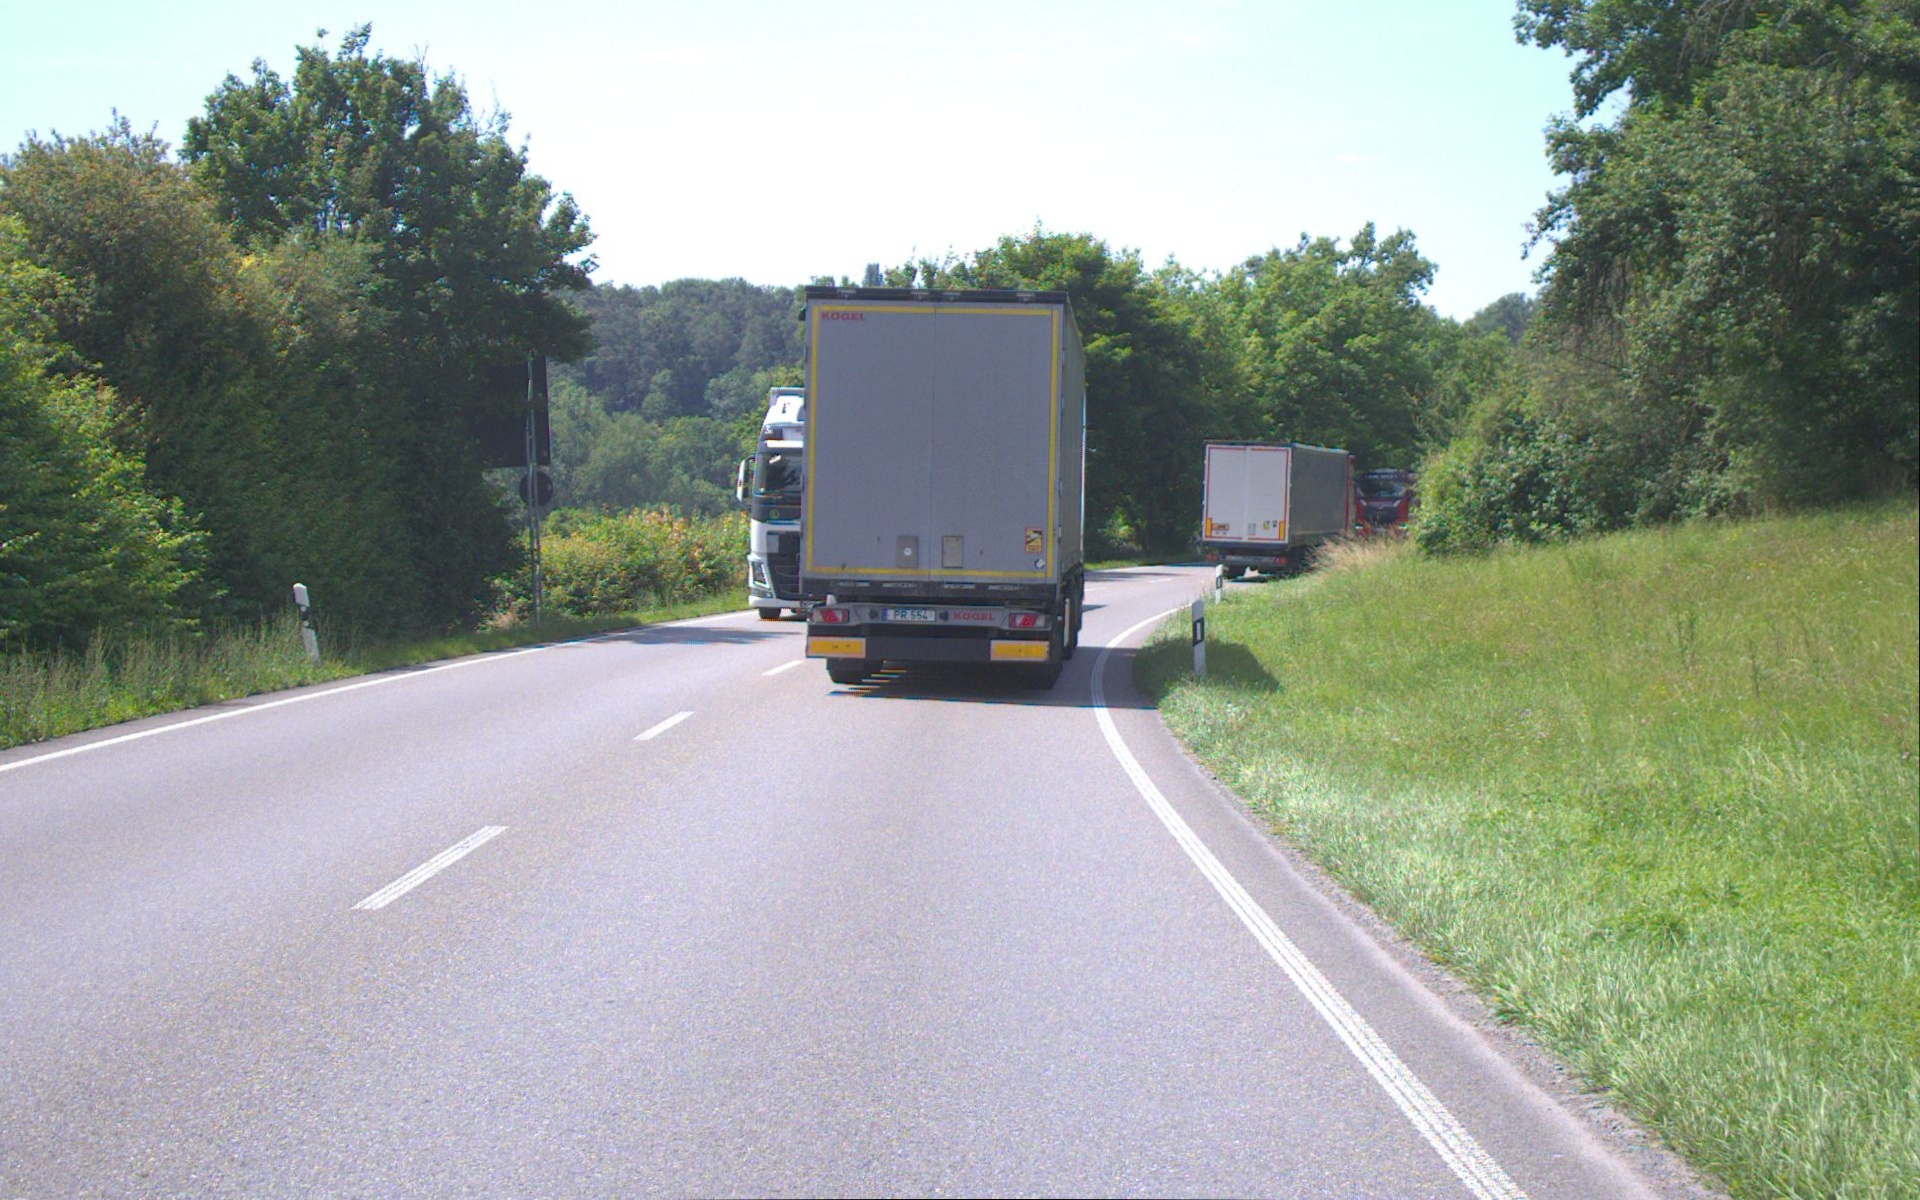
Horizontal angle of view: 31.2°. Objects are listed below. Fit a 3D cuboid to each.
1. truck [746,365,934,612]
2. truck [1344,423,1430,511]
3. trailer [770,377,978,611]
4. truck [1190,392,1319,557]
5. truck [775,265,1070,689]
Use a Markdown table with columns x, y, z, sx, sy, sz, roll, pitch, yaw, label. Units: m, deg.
| x | y | z | sx | sy | sz | roll | pitch | yaw | label |
| --- | --- | --- | --- | --- | --- | --- | --- | --- | --- |
| -2.054 | -1.950 | 61.004 | 2.559 | 4.101 | 5.799 | 2 | 1 | 5 | truck |
| 19.135 | -6.013 | 153.316 | 2.554 | 3.440 | 12.630 | -3 | 3 | 12 | truck |
| -1.499 | -2.017 | 67.950 | 2.569 | 4.094 | 13.660 | 2 | 1 | 5 | trailer |
| 9.269 | -3.849 | 106.419 | 3.106 | 4.689 | 16.585 | 0 | 2 | 8 | truck |
| -0.243 | -1.296 | 40.663 | 2.801 | 4.055 | 15.325 | 0 | 1 | 1 | truck |
